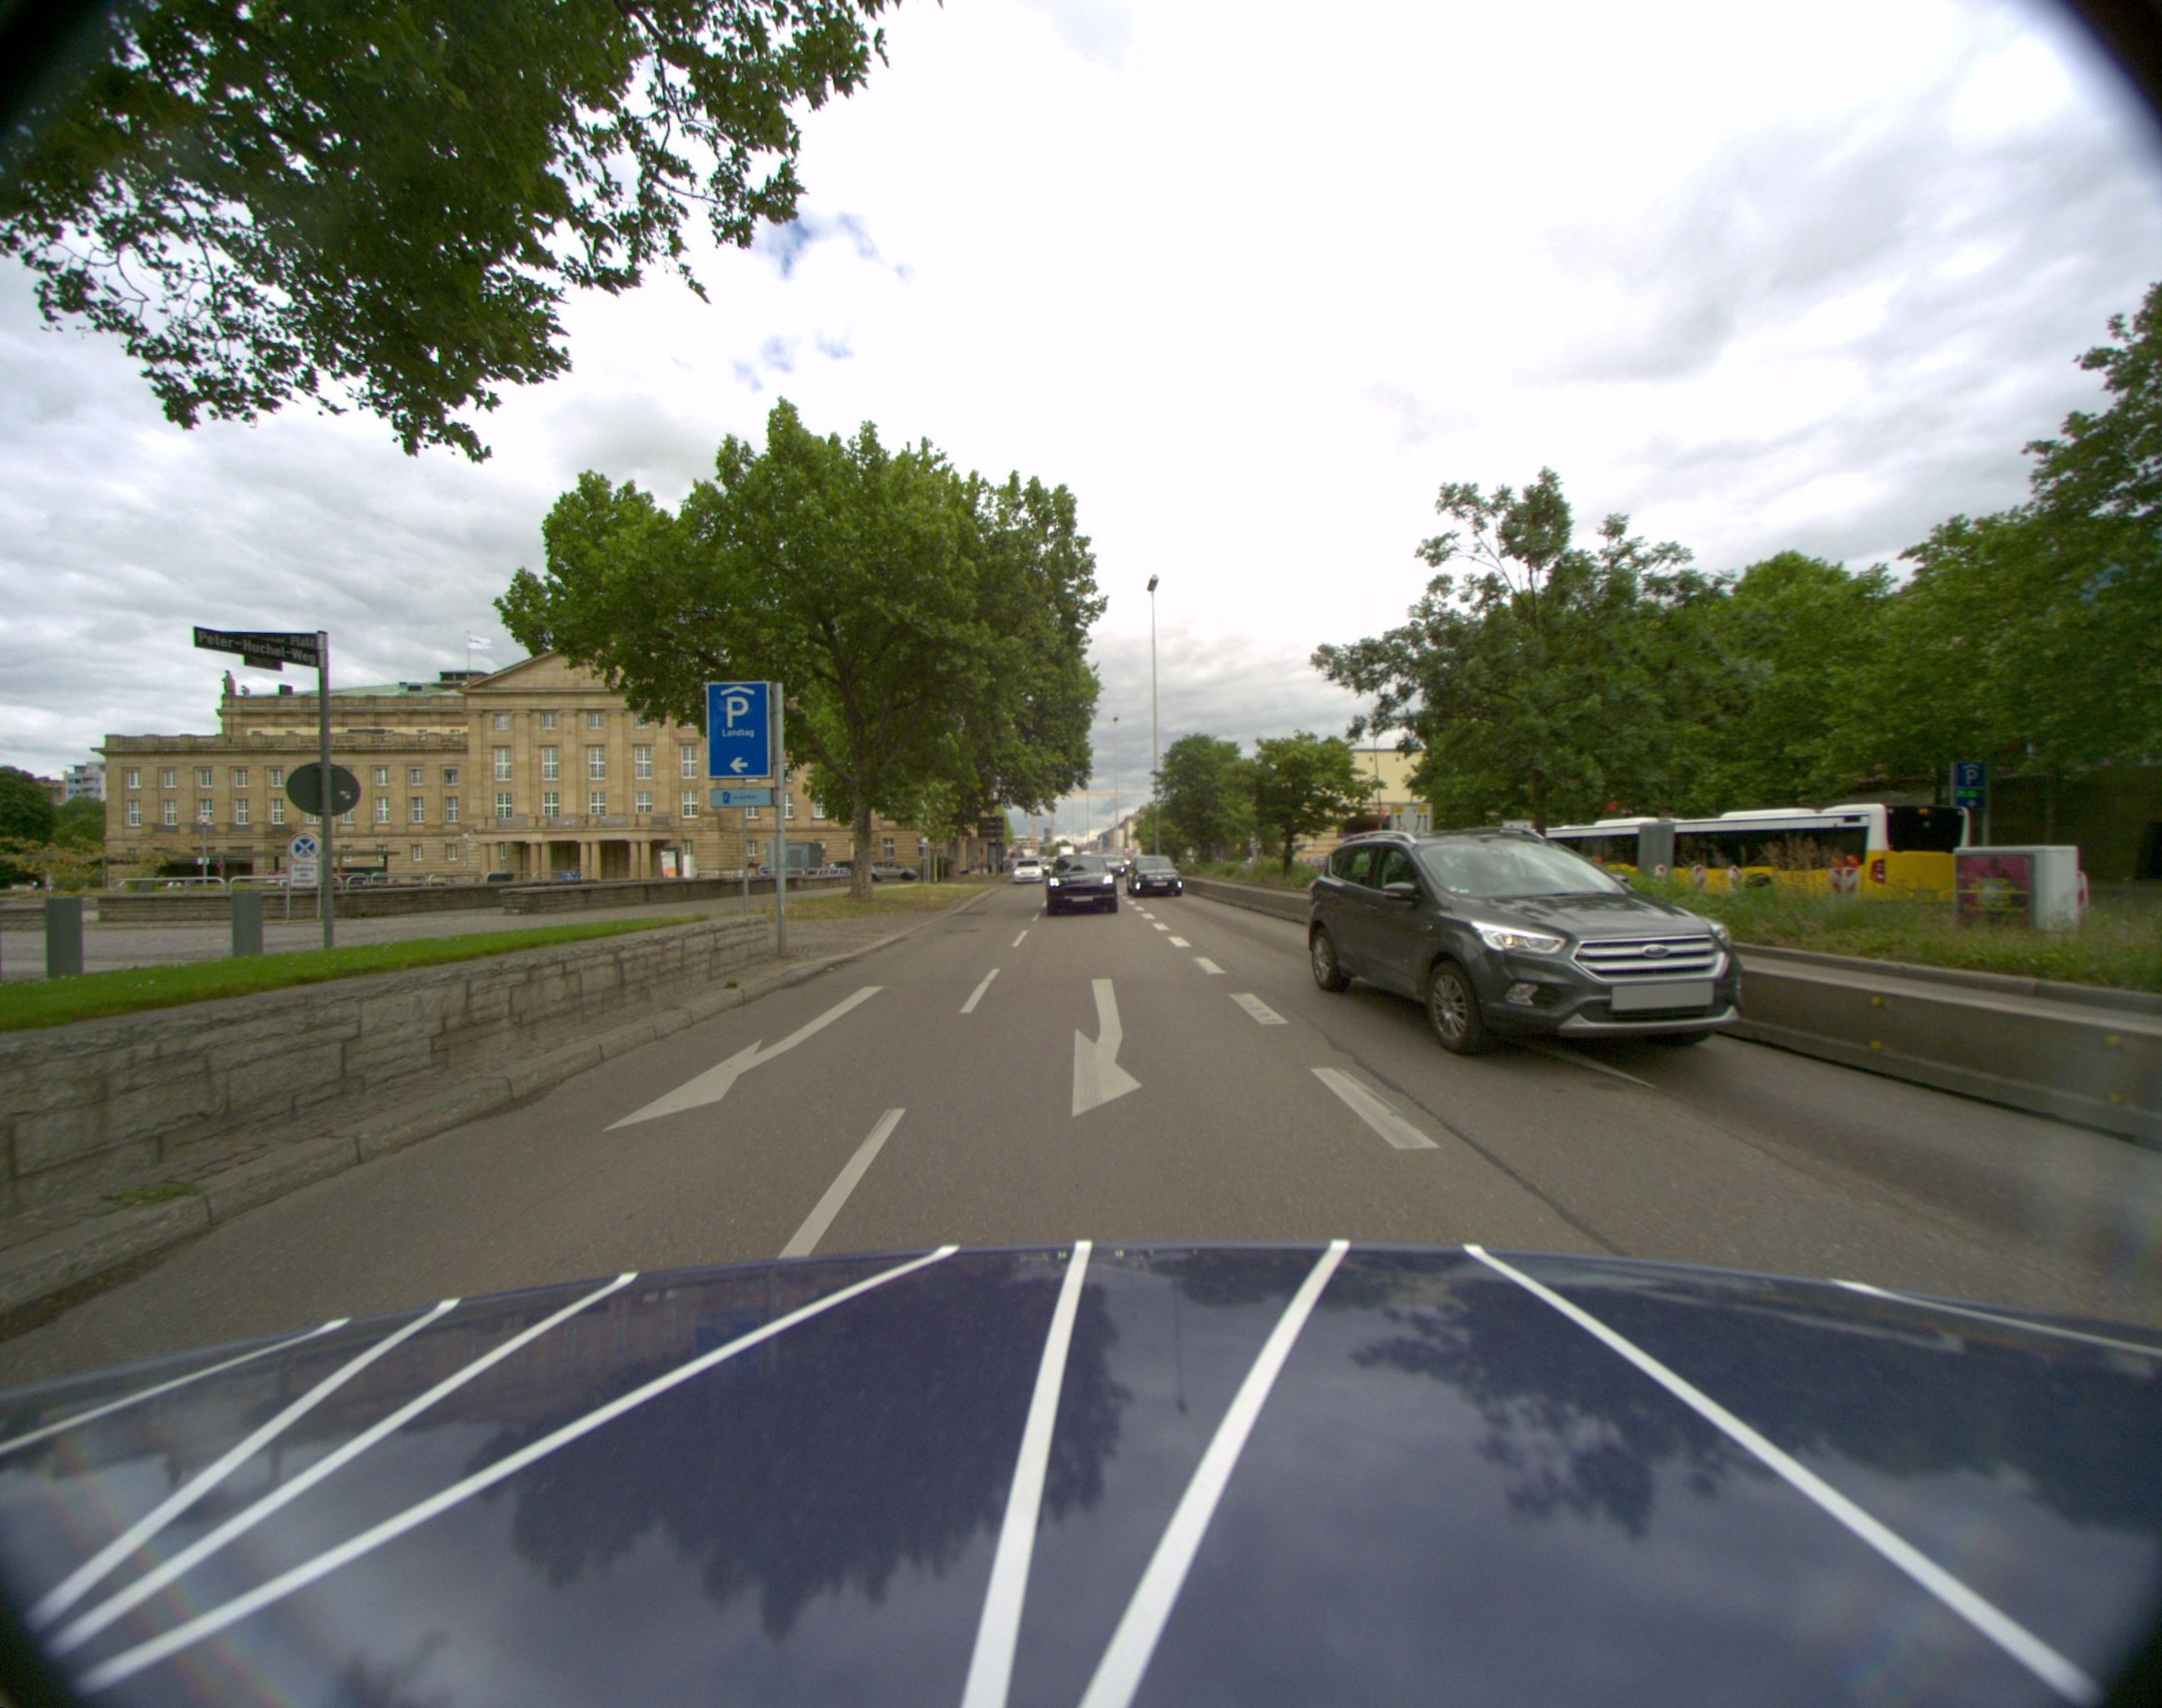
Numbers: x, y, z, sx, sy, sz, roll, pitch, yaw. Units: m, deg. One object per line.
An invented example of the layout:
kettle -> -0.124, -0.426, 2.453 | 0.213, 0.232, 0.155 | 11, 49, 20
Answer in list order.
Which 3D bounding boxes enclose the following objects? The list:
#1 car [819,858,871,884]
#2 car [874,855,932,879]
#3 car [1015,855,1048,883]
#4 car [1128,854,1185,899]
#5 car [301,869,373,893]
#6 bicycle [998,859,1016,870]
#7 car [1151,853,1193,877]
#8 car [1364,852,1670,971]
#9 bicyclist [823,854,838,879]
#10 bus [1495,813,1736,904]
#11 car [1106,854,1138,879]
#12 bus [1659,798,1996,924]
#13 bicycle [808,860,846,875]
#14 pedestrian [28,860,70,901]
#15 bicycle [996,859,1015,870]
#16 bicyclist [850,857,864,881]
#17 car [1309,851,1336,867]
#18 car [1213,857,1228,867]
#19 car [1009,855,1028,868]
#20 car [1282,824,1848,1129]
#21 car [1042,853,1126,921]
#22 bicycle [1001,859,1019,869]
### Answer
car -> -14.456, 1.038, 46.791 | 1.768, 1.508, 4.219 | -1, -1, 1
car -> -13.866, 1.016, 59.293 | 3.997, 1.587, 1.734 | -3, 1, -1
car -> -3.176, 0.945, 49.415 | 1.696, 1.585, 3.999 | -3, 1, 1
car -> 2.848, 0.805, 29.359 | 1.767, 1.507, 4.152 | -2, 1, 1
car -> -62.764, 2.290, 64.146 | 3.997, 1.707, 1.999 | -3, 1, -1
bicycle -> -7.692, 1.089, 79.137 | 1.841, 1.066, 0.618 | -1, 0, -9
car -> 5.851, 0.669, 49.339 | 1.999, 1.474, 4.808 | -1, 0, -2
car -> 6.469, 0.735, 12.110 | 1.999, 1.474, 4.808 | -1, 0, -2
bicyclist -> -20.518, 1.057, 62.305 | 1.105, 2.002, 1.010 | -2, 0, -19
bus -> 22.430, 0.154, 33.071 | 2.920, 3.286, 10.447 | -1, 0, -1
car -> 2.930, 0.886, 55.206 | 1.999, 1.607, 4.737 | -1, 1, -1
bus -> 22.700, 0.162, 23.960 | 2.930, 3.284, 7.705 | -1, 0, -2
bicycle -> -20.745, 1.095, 62.165 | 2.846, 1.178, 1.096 | -2, 1, -17
pedestrian -> -52.879, 1.358, 38.956 | 0.858, 2.002, 0.815 | -3, 2, 5
bicycle -> -7.794, 1.069, 78.458 | 1.919, 1.092, 0.541 | -1, 0, -9
bicyclist -> -19.249, 1.265, 65.247 | 0.879, 2.002, 0.842 | -4, 2, -27
car -> 21.665, 0.434, 68.250 | 1.356, 1.281, 3.055 | -3, 1, -2
car -> 21.258, 1.188, 115.690 | 1.356, 1.281, 3.736 | -3, 1, -2
car -> -7.542, 0.875, 92.208 | 1.843, 1.522, 4.000 | -1, 1, 1
car -> 3.471, 0.726, 6.778 | 1.899, 1.705, 4.657 | -2, 0, -2
car -> -0.031, 0.872, 22.338 | 2.062, 1.616, 4.599 | -4, 1, -4
bicycle -> -7.537, 1.053, 80.995 | 1.843, 1.066, 0.531 | -1, 0, -21
